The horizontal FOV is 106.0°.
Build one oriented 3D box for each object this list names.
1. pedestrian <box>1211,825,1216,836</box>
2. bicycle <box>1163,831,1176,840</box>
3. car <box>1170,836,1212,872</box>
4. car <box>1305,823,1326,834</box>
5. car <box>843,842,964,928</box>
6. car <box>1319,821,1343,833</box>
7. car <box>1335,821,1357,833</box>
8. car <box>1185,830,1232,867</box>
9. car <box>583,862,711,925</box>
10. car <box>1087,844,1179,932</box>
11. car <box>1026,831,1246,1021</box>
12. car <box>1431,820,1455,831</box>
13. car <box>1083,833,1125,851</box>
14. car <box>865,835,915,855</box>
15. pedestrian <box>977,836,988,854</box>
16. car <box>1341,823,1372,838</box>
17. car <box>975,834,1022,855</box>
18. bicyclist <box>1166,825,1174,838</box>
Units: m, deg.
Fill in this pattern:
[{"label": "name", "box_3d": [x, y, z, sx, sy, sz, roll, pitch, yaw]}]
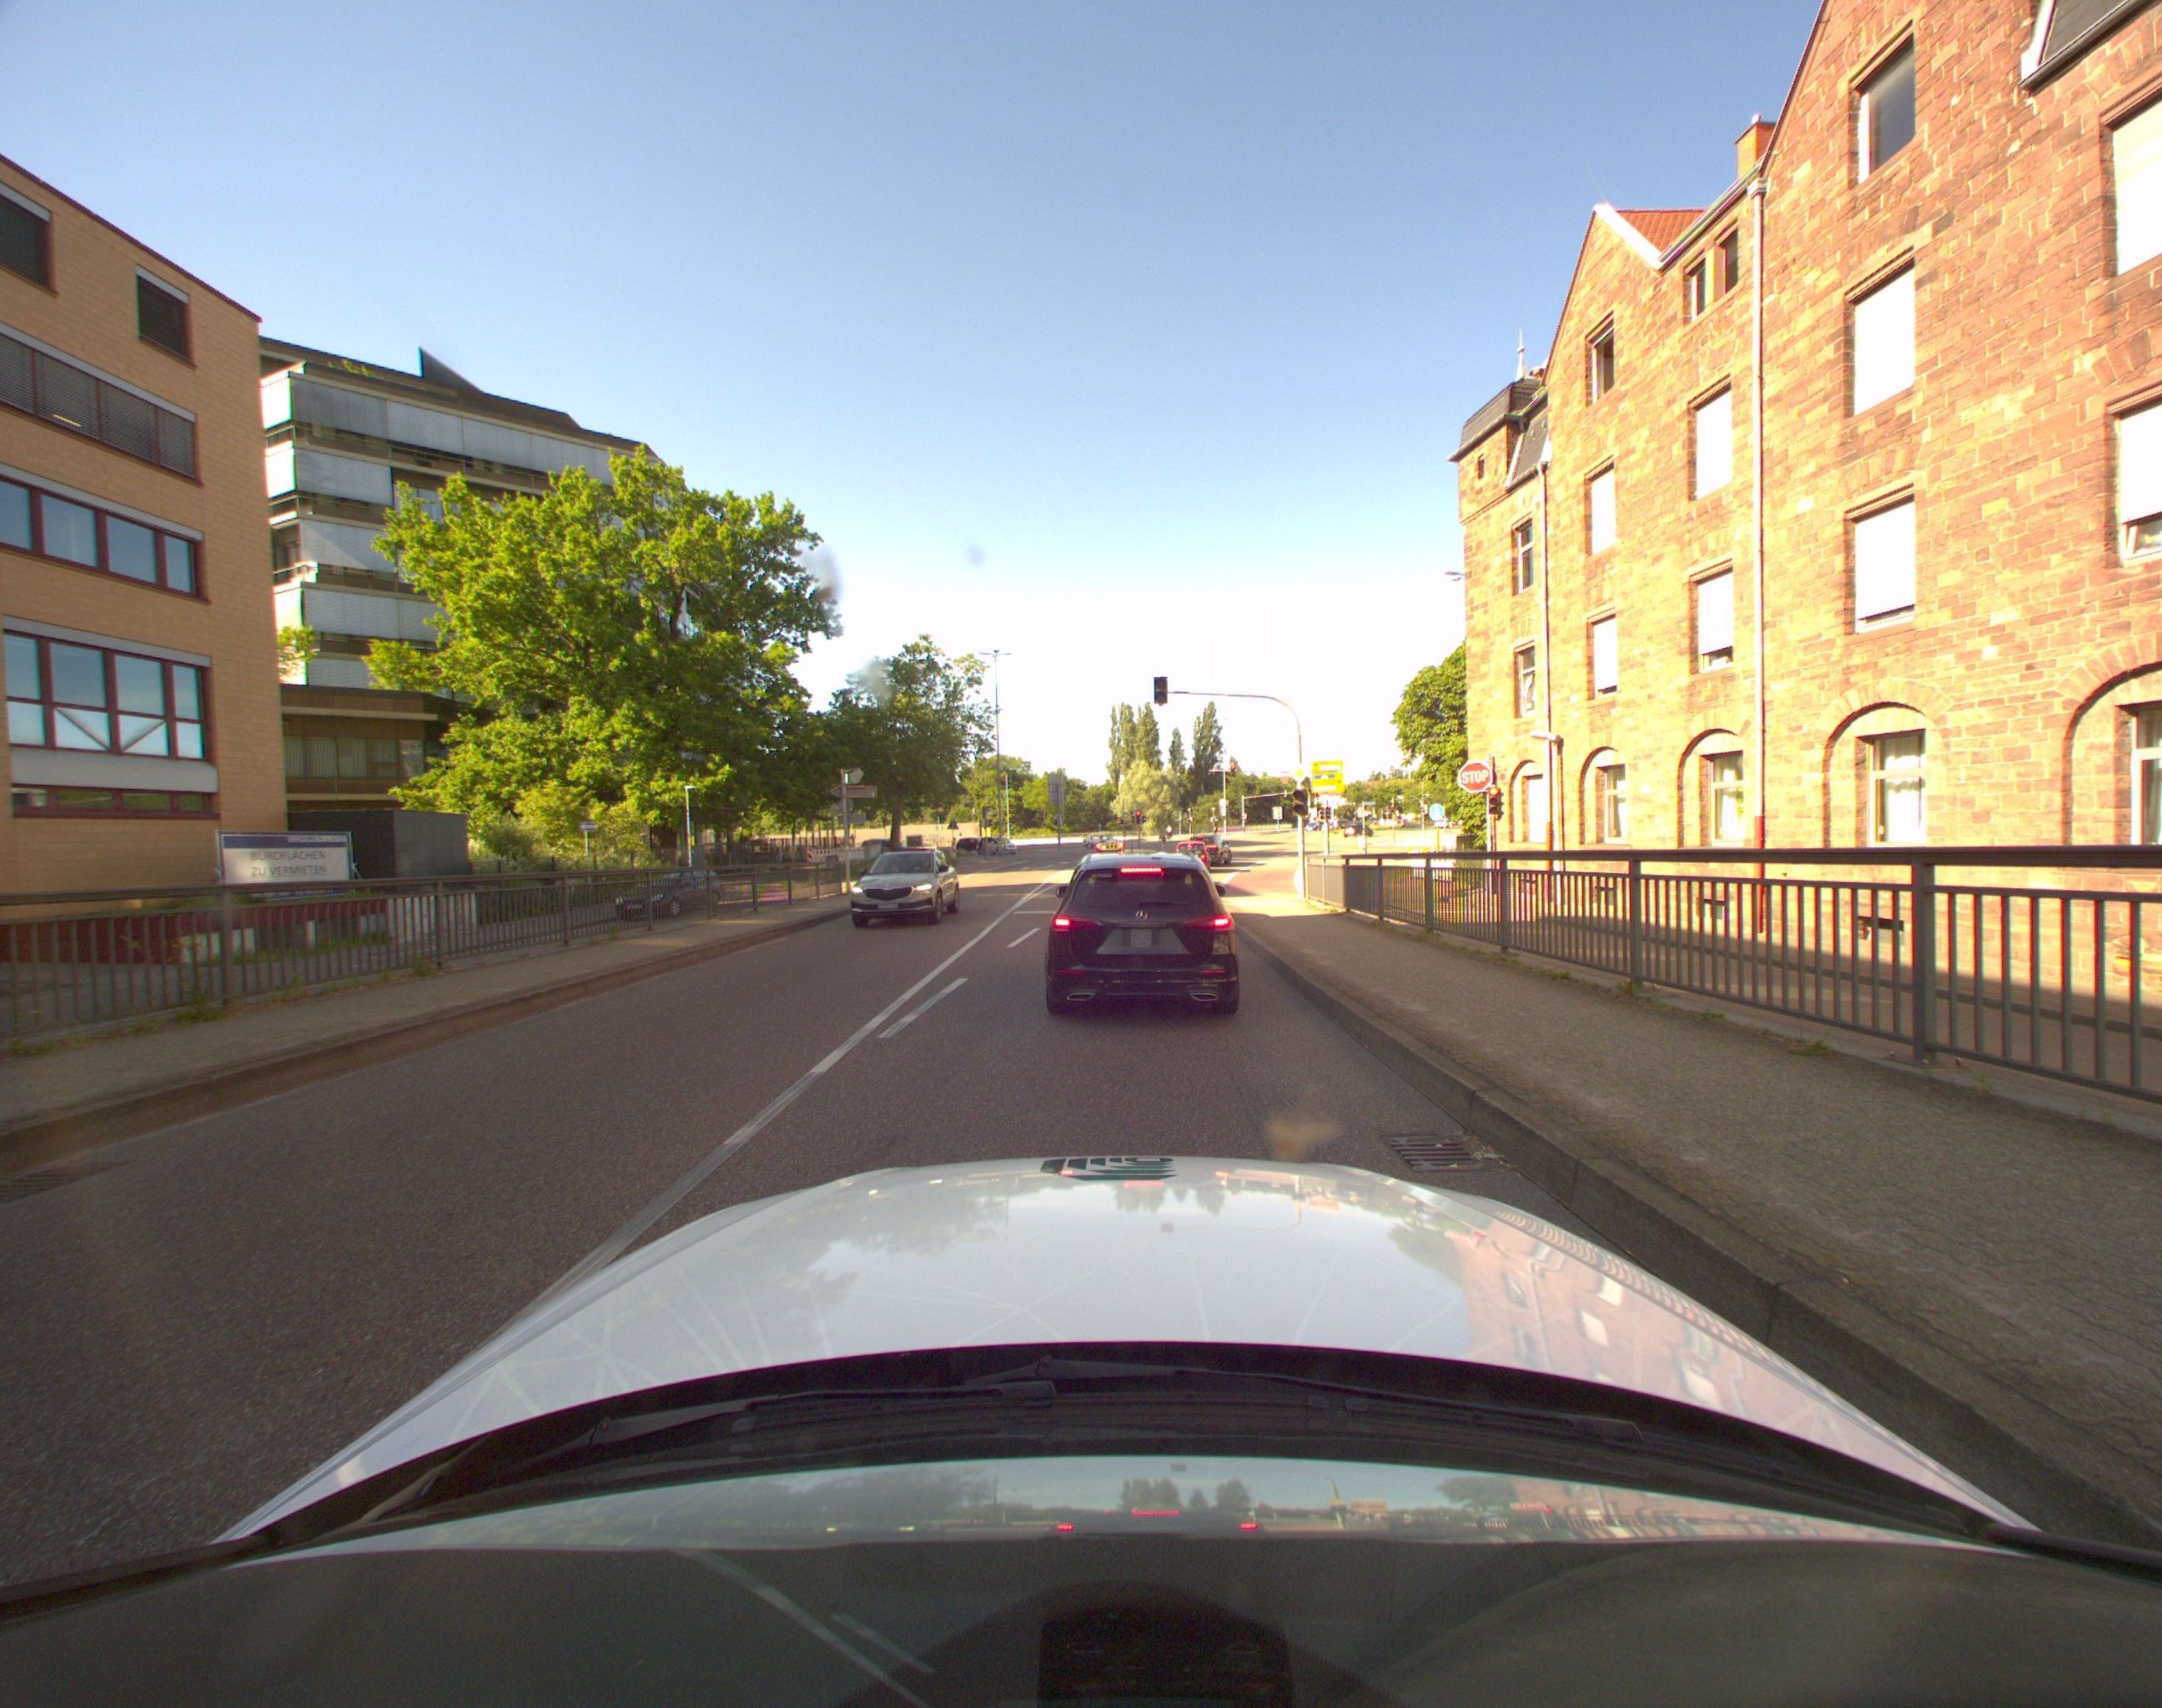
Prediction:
[{"label": "pedestrian", "box_3d": [18.605, -3.263, 114.133, 0.446, 1.585, 0.504, -2, 1, 42]}, {"label": "bicycle", "box_3d": [10.416, -2.172, 95.695, 0.520, 1.050, 2.003, -2, 1, 37]}, {"label": "car", "box_3d": [5.365, -0.031, 39.421, 1.710, 1.521, 3.499, -1, 3, 13]}, {"label": "car", "box_3d": [37.207, -4.062, 129.252, 1.860, 1.578, 4.026, -1, 2, 38]}, {"label": "car", "box_3d": [-3.842, 0.592, 18.348, 1.798, 1.623, 4.000, -2, 1, 0]}, {"label": "car", "box_3d": [35.073, -3.744, 114.098, 1.860, 1.578, 4.026, -1, 2, 38]}, {"label": "car", "box_3d": [38.771, -3.992, 119.171, 1.860, 1.578, 4.026, -1, 2, 38]}, {"label": "car", "box_3d": [7.086, -0.359, 45.020, 1.707, 1.811, 4.320, -2, 2, 20]}, {"label": "car", "box_3d": [-13.953, 1.208, 26.494, 1.844, 1.692, 4.002, -2, 2, 2]}, {"label": "car", "box_3d": [1.082, 0.607, 16.729, 1.632, 1.529, 3.478, -2, 1, 4]}, {"label": "car", "box_3d": [0.532, 0.598, 8.954, 1.871, 1.613, 4.002, 0, 0, 2]}, {"label": "car", "box_3d": [51.218, -4.070, 115.215, 1.974, 1.365, 4.343, -1, 3, 39]}, {"label": "car", "box_3d": [2.261, -1.215, 80.840, 3.966, 1.629, 1.894, -2, 1, 6]}, {"label": "car", "box_3d": [-18.836, -0.875, 80.178, 4.835, 1.794, 1.937, -2, 2, 34]}, {"label": "pedestrian", "box_3d": [-8.301, -0.776, 68.384, 0.700, 1.525, 0.746, -1, 1, 12]}, {"label": "car", "box_3d": [30.543, -2.609, 90.233, 1.722, 1.498, 4.025, -2, 0, 41]}, {"label": "car", "box_3d": [-7.274, -0.814, 71.455, 3.948, 1.635, 1.795, -1, 3, 39]}, {"label": "bicyclist", "box_3d": [10.409, -2.622, 95.681, 0.520, 1.551, 0.812, -2, 1, 37]}]
